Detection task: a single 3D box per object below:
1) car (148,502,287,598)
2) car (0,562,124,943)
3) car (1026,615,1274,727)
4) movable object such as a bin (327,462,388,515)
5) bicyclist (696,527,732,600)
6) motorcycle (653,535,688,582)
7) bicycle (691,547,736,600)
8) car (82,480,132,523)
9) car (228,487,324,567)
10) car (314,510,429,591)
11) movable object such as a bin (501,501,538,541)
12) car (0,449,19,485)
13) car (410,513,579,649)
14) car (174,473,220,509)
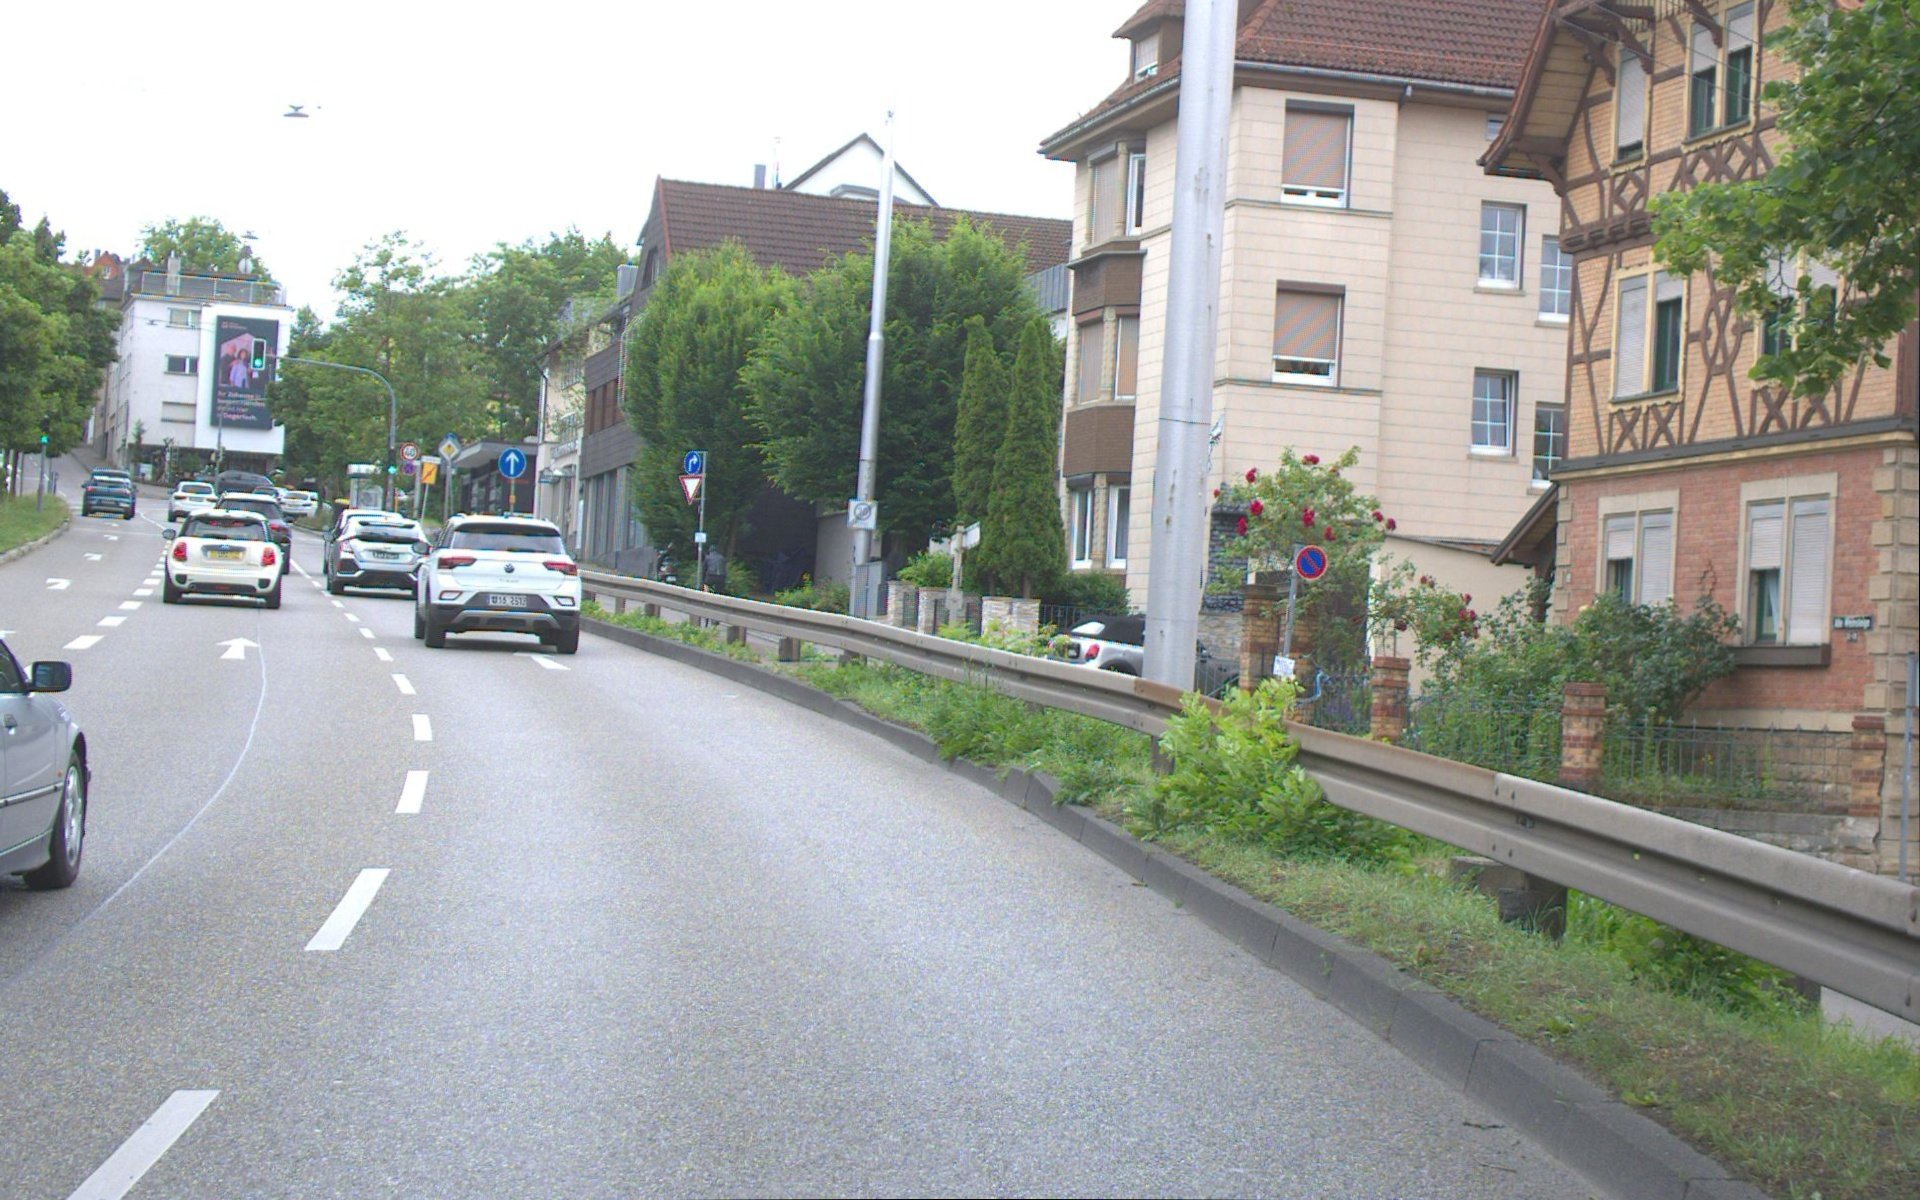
[{"bbox_3d":[-11.193,-0.769,51.687,1.722,1.371,3.458,1,1,-17],"label":"car"},{"bbox_3d":[-4.323,0.547,12.808,1.634,1.378,4.620,0,0,-5],"label":"car"},{"bbox_3d":[3.132,1.170,56.587,3.602,1.430,1.705,6,1,-29],"label":"car"},{"bbox_3d":[-23.381,-4.335,133.367,1.891,1.863,1.529,5,1,-21],"label":"movable object such as a bin"},{"bbox_3d":[-5.248,-0.785,73.310,0.566,1.519,0.959,1,2,-15],"label":"bicyclist"},{"bbox_3d":[-7.533,-1.087,89.425,0.608,1.158,2.041,2,2,-12],"label":"motorcycle"},{"bbox_3d":[-5.265,-0.573,73.335,0.566,1.059,2.006,1,2,-15],"label":"bicycle"},{"bbox_3d":[-32.431,-3.734,130.684,1.722,1.577,3.458,1,1,-15],"label":"car"},{"bbox_3d":[-14.546,-1.550,73.001,1.722,1.634,3.458,1,1,-15],"label":"car"},{"bbox_3d":[-10.482,-0.898,61.104,1.722,1.371,3.458,1,1,-14],"label":"car"},{"bbox_3d":[-16.875,-3.035,131.668,1.195,1.403,0.711,5,1,-13],"label":"movable object such as a bin"},{"bbox_3d":[-47.621,-6.633,169.953,1.859,1.664,4.281,5,1,-14],"label":"car"},{"bbox_3d":[-5.570,-0.252,40.864,1.796,1.513,3.457,1,1,-11],"label":"car"},{"bbox_3d":[-29.956,-4.275,134.929,1.722,1.371,3.458,1,1,-13],"label":"car"}]
